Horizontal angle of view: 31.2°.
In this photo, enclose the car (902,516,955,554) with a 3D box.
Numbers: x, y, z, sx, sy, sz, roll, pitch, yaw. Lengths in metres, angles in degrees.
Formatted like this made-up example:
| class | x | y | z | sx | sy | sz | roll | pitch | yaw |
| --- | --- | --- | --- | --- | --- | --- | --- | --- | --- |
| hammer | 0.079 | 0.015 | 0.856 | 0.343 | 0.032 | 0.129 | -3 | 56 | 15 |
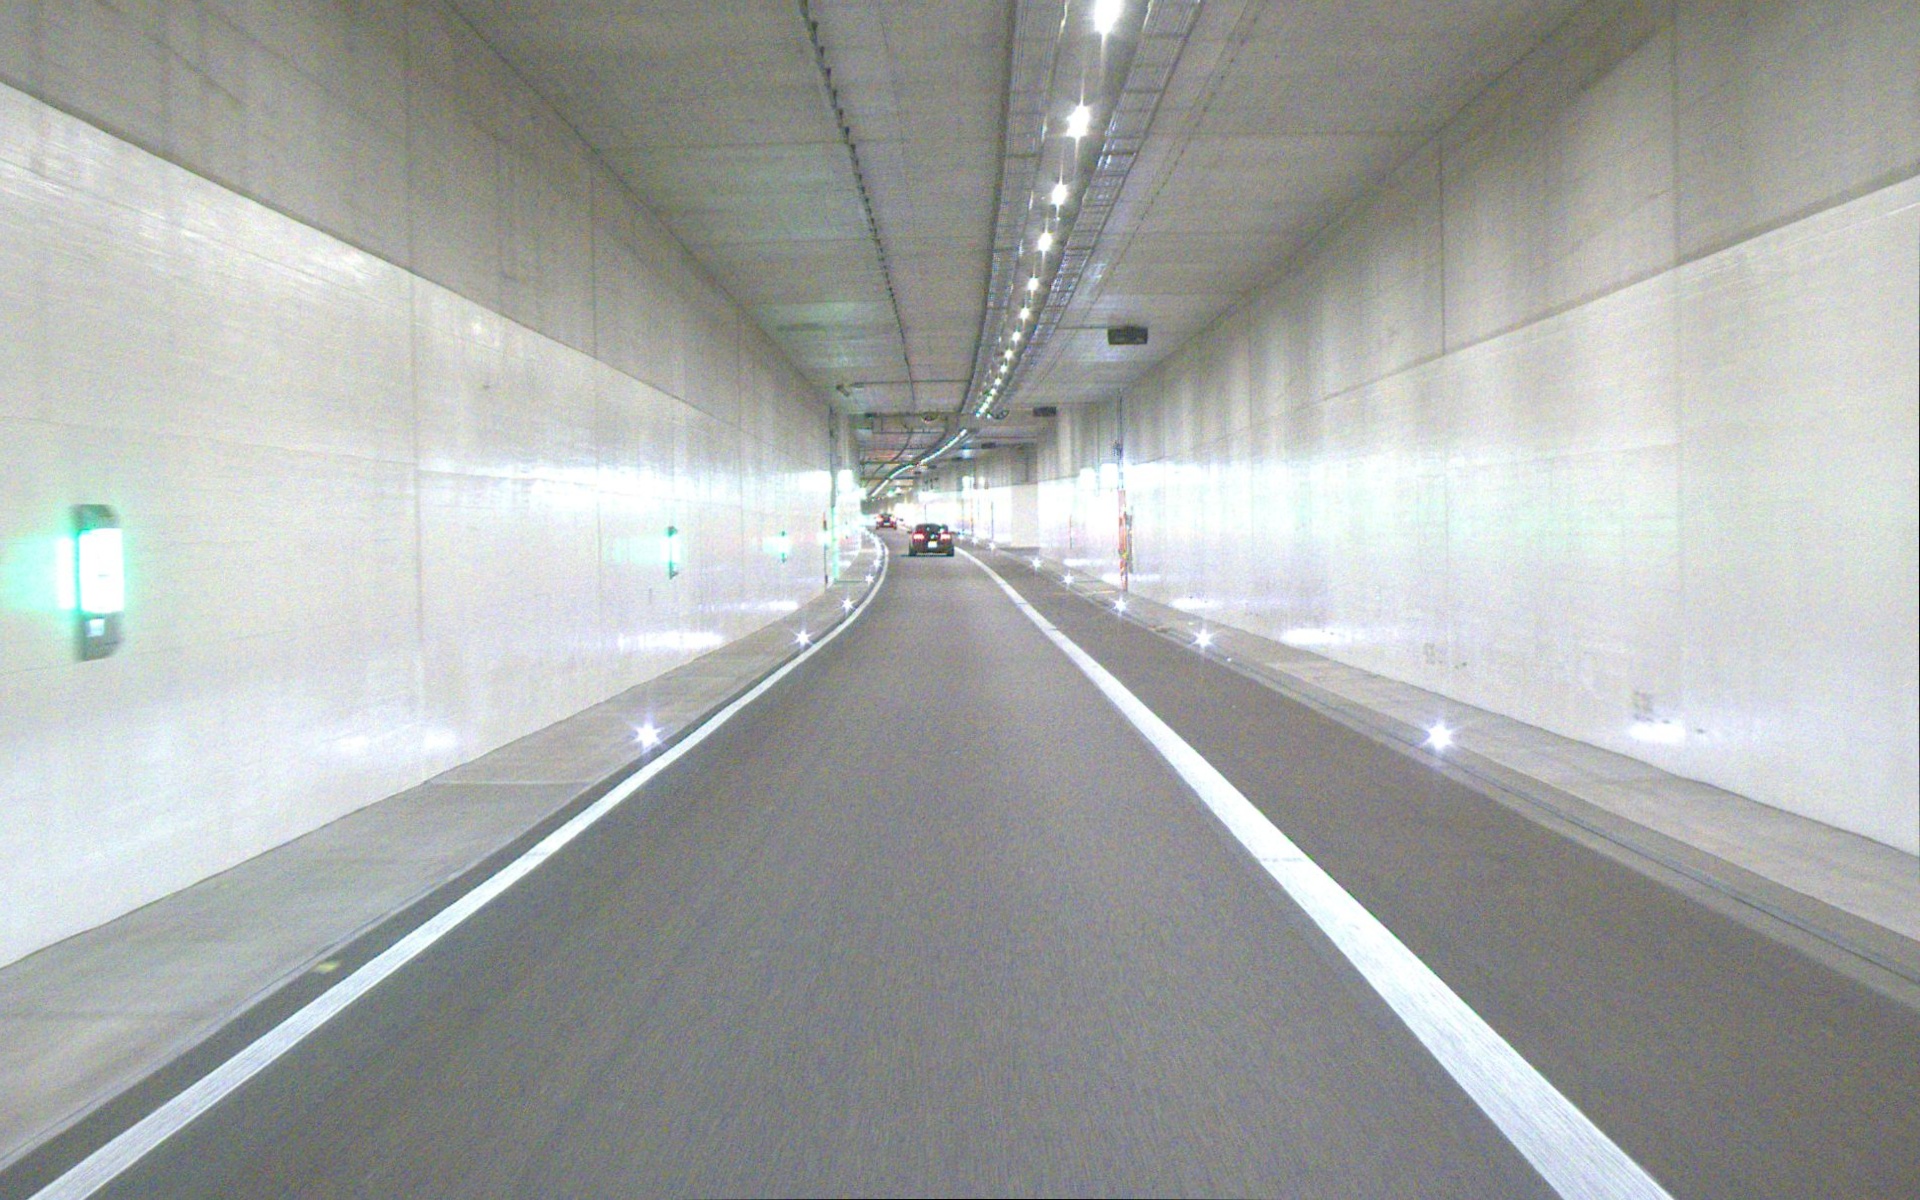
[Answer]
| class | x | y | z | sx | sy | sz | roll | pitch | yaw |
| --- | --- | --- | --- | --- | --- | --- | --- | --- | --- |
| car | -1.331 | -2.754 | 144.989 | 1.993 | 1.415 | 4.001 | 5 | 1 | -2 |
